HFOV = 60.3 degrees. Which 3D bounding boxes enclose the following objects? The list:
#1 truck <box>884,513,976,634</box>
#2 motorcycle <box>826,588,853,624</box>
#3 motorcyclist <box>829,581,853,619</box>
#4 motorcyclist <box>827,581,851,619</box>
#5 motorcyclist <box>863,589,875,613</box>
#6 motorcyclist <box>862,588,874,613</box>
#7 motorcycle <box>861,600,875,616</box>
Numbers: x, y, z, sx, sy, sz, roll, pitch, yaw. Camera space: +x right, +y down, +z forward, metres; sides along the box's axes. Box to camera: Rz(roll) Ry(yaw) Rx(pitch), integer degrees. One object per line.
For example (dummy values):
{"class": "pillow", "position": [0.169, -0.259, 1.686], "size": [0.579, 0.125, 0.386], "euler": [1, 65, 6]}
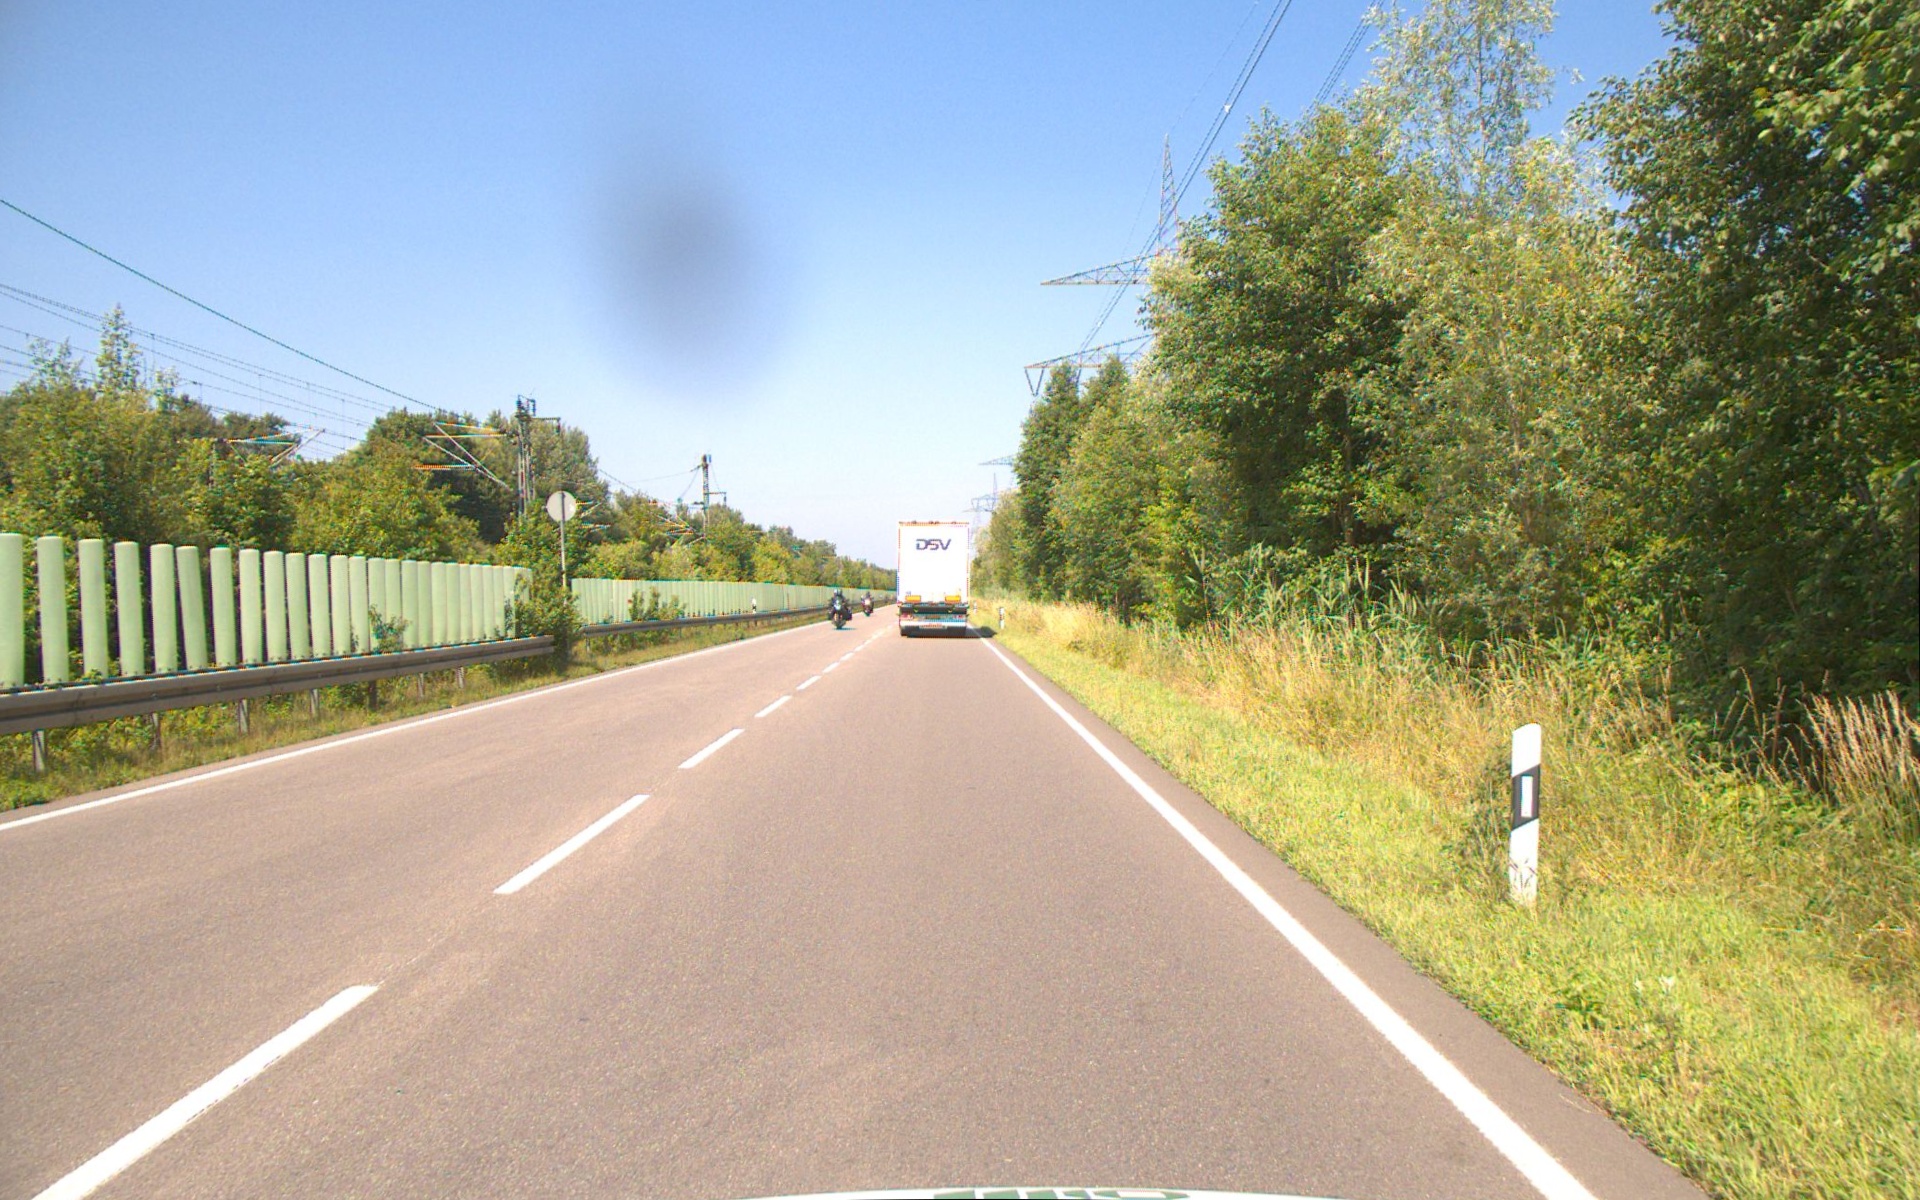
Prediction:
{"class": "truck", "position": [-1.154, -0.938, 62.748], "size": [3.127, 4.113, 12.003], "euler": [0, 0, -1]}
{"class": "motorcycle", "position": [-5.187, 0.250, 71.426], "size": [0.948, 1.522, 2.630], "euler": [1, 0, 1]}
{"class": "motorcyclist", "position": [-5.180, 0.012, 72.070], "size": [0.939, 1.638, 1.003], "euler": [1, 0, 0]}
{"class": "motorcyclist", "position": [-5.190, 0.002, 71.058], "size": [0.939, 1.638, 1.003], "euler": [1, 0, 0]}
{"class": "motorcyclist", "position": [-6.170, 0.040, 112.104], "size": [0.734, 1.610, 0.863], "euler": [1, 0, 0]}
{"class": "motorcyclist", "position": [-6.176, 0.029, 111.148], "size": [0.742, 1.610, 1.003], "euler": [1, 0, 0]}
{"class": "motorcycle", "position": [-6.185, 0.540, 111.174], "size": [0.738, 1.031, 2.721], "euler": [1, 0, 1]}
